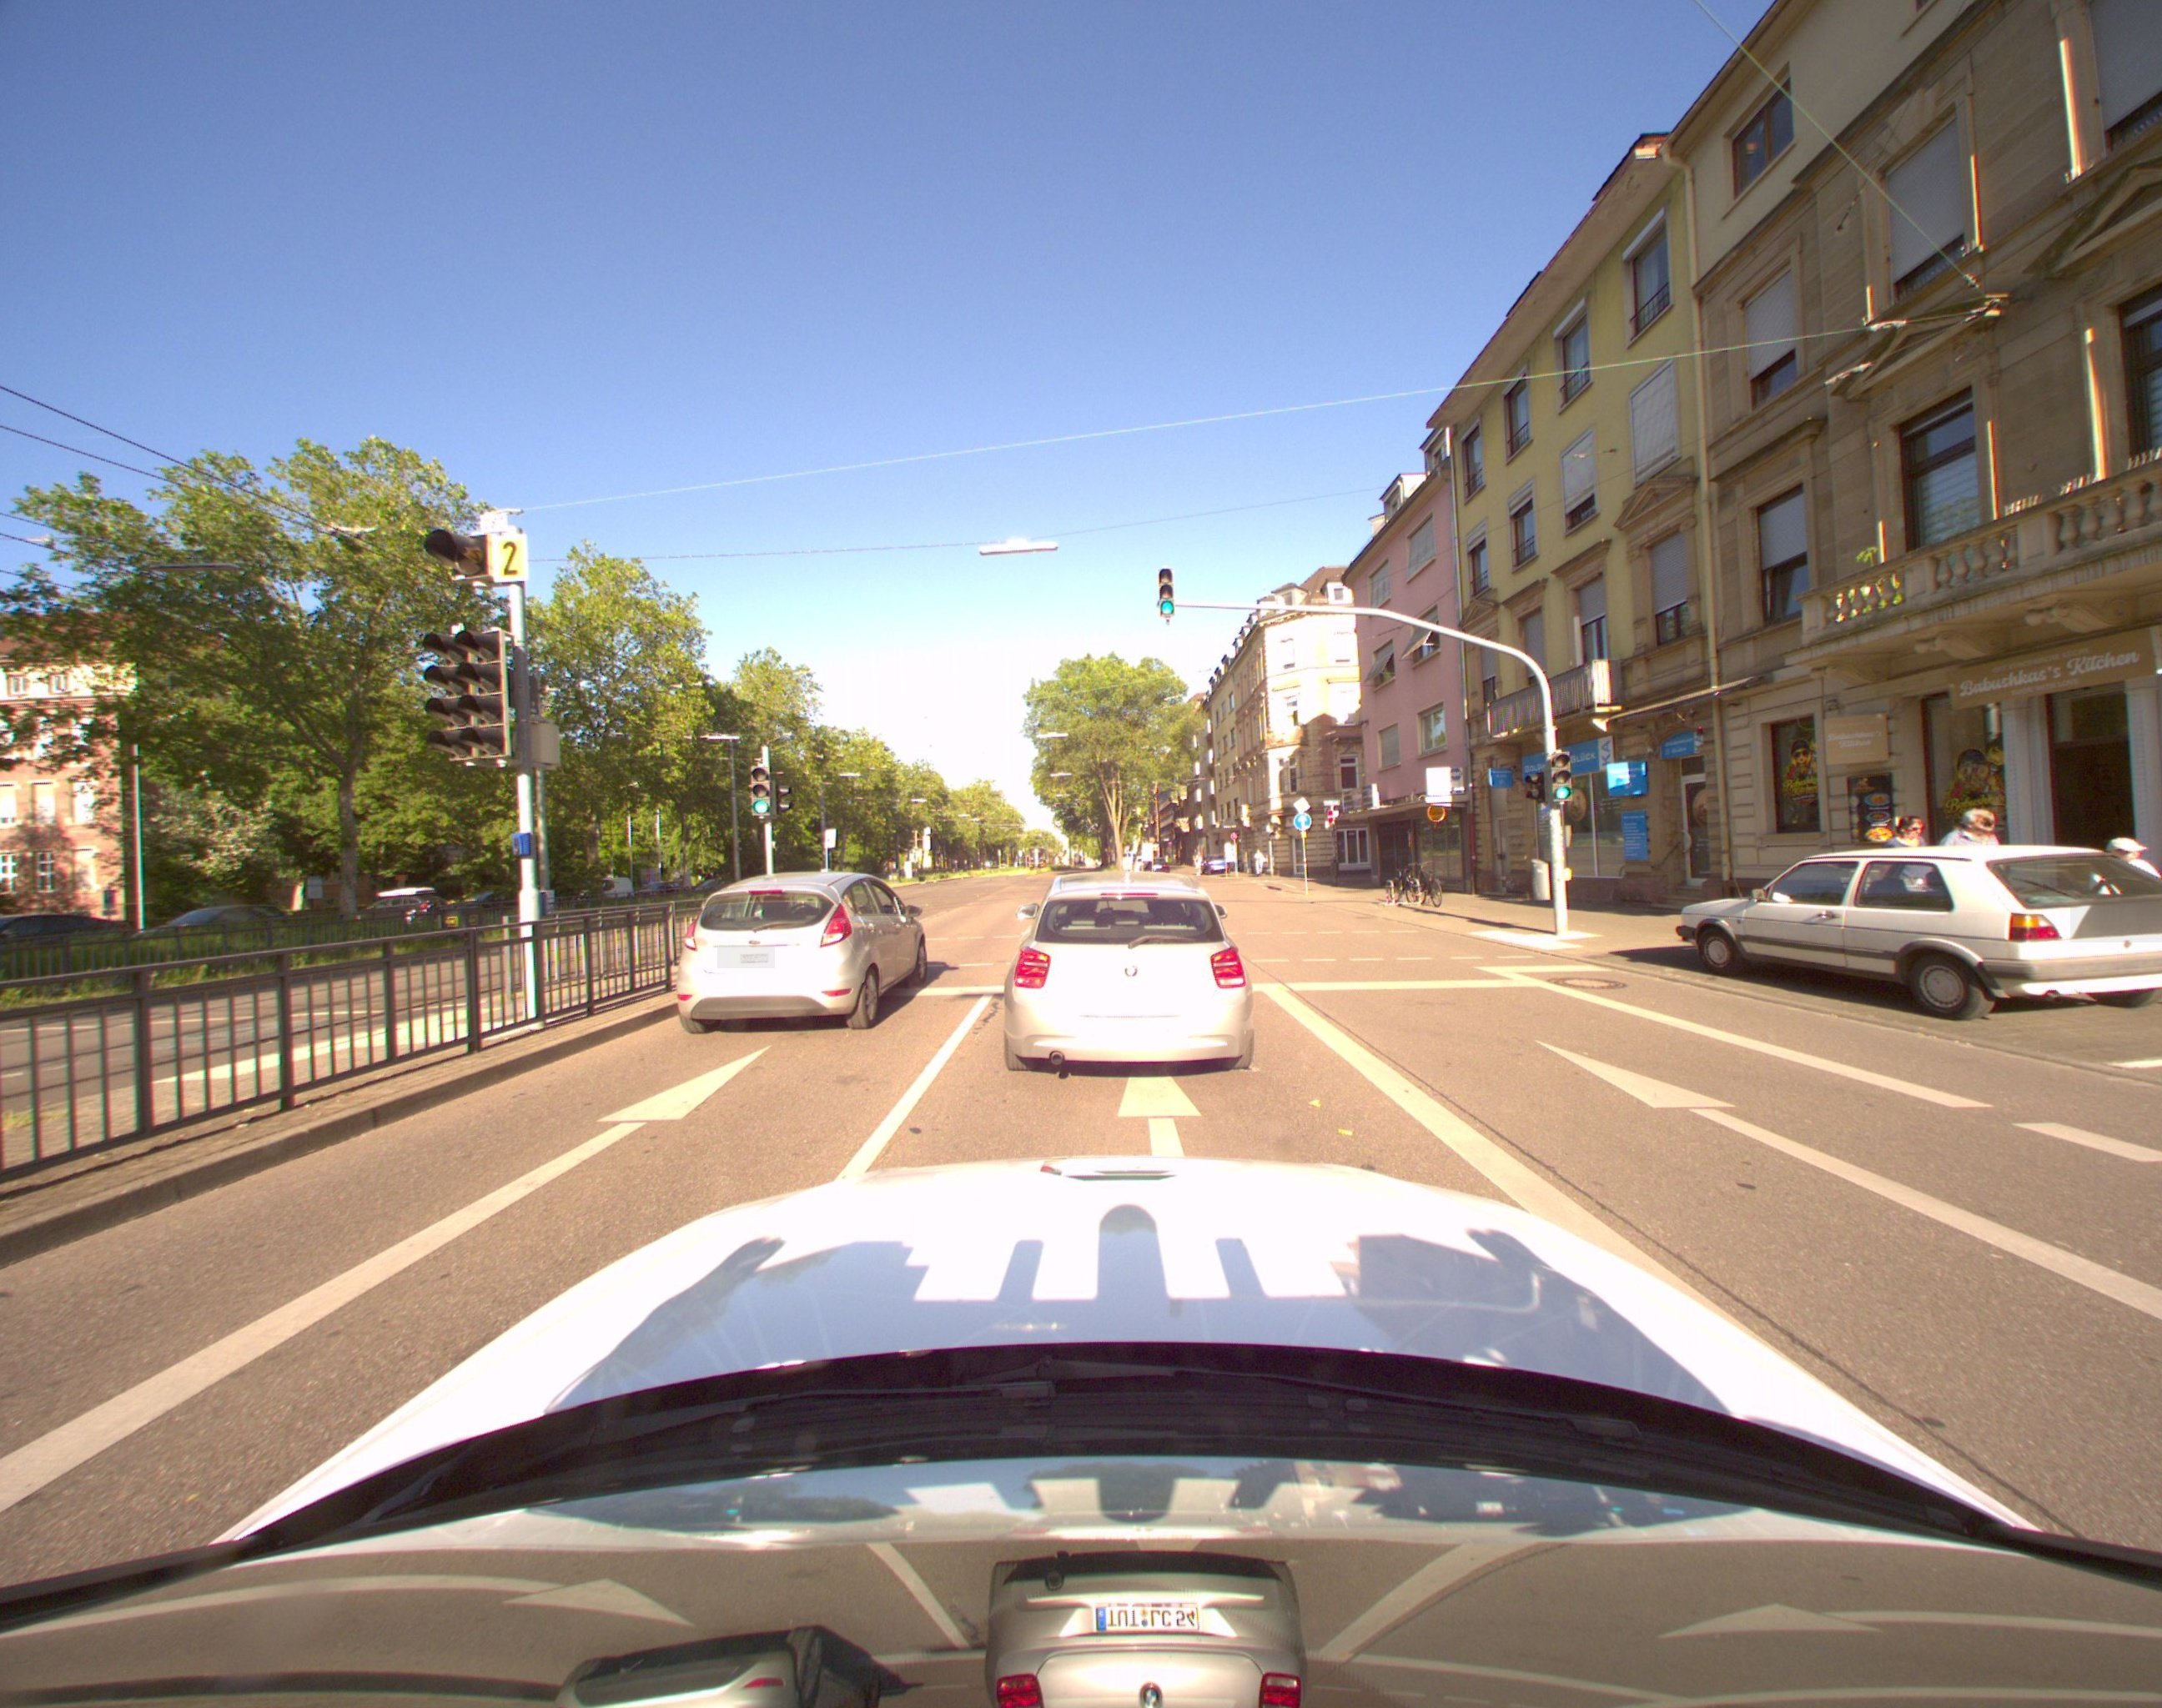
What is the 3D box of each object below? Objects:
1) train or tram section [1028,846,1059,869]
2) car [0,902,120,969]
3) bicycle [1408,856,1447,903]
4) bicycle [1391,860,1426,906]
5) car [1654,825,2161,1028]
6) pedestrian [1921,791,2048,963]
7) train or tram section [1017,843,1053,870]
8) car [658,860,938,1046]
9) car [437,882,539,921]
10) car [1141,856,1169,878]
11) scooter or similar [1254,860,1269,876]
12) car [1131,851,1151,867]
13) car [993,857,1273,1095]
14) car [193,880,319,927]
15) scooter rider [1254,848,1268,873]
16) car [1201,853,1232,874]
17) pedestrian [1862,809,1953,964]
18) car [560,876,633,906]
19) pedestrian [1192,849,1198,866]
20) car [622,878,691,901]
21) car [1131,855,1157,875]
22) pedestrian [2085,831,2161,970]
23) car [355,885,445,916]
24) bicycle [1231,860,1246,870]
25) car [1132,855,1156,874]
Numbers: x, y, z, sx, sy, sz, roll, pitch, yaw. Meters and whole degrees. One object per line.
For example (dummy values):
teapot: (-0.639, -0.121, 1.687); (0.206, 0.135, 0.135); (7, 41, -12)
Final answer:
train or tram section: (-6.556, 0.629, 146.207); (3.990, 3.866, 17.495); (-2, 0, 2)
car: (-27.921, 2.152, 20.844); (1.664, 1.509, 4.145); (-2, 0, 0)
bicycle: (9.071, 0.652, 21.350); (0.446, 1.159, 1.762); (-2, 0, 8)
bicycle: (8.576, 0.731, 21.365); (0.411, 1.141, 1.813); (-2, 0, 8)
car: (7.984, 0.553, 8.228); (1.557, 1.415, 4.005); (-6, 0, 2)
pedestrian: (10.010, 0.246, 9.046); (0.670, 1.806, 0.531); (-5, 0, 1)
train or tram section: (-7.115, 0.355, 128.619); (3.954, 3.866, 17.495); (-2, 0, 2)
car: (-2.701, 0.832, 8.738); (1.604, 1.467, 3.889); (-2, 0, -1)
car: (-27.661, 2.161, 38.140); (1.664, 1.509, 4.145); (-2, 0, 0)
car: (5.088, 0.852, 56.208); (1.729, 1.433, 3.679); (-1, 0, 2)
scooter or similar: (11.048, 0.864, 49.919); (0.337, 0.988, 1.279); (-2, 0, -12)
car: (5.872, 0.494, 80.165); (1.719, 1.507, 3.555); (-1, 0, 0)
car: (0.384, 0.774, 7.105); (1.733, 1.467, 4.001); (-1, 0, 2)
car: (-40.472, 2.393, 40.100); (1.986, 2.013, 4.001); (-2, 0, 2)
scooter rider: (11.045, 0.426, 49.868); (0.466, 1.505, 0.806); (-2, 0, -15)
car: (10.276, 0.721, 61.954); (1.729, 1.519, 3.637); (-1, 0, 1)
pedestrian: (9.372, 0.364, 9.245); (0.547, 1.708, 0.389); (-3, 0, 4)
car: (-27.827, 2.077, 46.914); (1.664, 1.509, 4.145); (-2, 0, 0)
pedestrian: (11.971, 0.346, 85.602); (0.503, 1.802, 0.806); (-3, 0, 1)
car: (-27.587, 2.281, 53.119); (1.929, 1.349, 4.848); (-2, -1, 0)
car: (4.747, 0.815, 61.873); (1.738, 1.433, 3.555); (-1, 0, 0)
pedestrian: (10.634, 0.434, 7.955); (0.795, 1.281, 0.608); (-5, -1, -1)
car: (-38.013, 2.596, 45.488); (3.968, 1.494, 1.395); (-2, 0, 5)
bicycle: (12.060, 0.825, 62.252); (0.752, 0.770, 1.945); (-2, 0, 0)
car: (5.178, 0.830, 67.421); (1.719, 1.507, 3.555); (-1, 0, 0)
